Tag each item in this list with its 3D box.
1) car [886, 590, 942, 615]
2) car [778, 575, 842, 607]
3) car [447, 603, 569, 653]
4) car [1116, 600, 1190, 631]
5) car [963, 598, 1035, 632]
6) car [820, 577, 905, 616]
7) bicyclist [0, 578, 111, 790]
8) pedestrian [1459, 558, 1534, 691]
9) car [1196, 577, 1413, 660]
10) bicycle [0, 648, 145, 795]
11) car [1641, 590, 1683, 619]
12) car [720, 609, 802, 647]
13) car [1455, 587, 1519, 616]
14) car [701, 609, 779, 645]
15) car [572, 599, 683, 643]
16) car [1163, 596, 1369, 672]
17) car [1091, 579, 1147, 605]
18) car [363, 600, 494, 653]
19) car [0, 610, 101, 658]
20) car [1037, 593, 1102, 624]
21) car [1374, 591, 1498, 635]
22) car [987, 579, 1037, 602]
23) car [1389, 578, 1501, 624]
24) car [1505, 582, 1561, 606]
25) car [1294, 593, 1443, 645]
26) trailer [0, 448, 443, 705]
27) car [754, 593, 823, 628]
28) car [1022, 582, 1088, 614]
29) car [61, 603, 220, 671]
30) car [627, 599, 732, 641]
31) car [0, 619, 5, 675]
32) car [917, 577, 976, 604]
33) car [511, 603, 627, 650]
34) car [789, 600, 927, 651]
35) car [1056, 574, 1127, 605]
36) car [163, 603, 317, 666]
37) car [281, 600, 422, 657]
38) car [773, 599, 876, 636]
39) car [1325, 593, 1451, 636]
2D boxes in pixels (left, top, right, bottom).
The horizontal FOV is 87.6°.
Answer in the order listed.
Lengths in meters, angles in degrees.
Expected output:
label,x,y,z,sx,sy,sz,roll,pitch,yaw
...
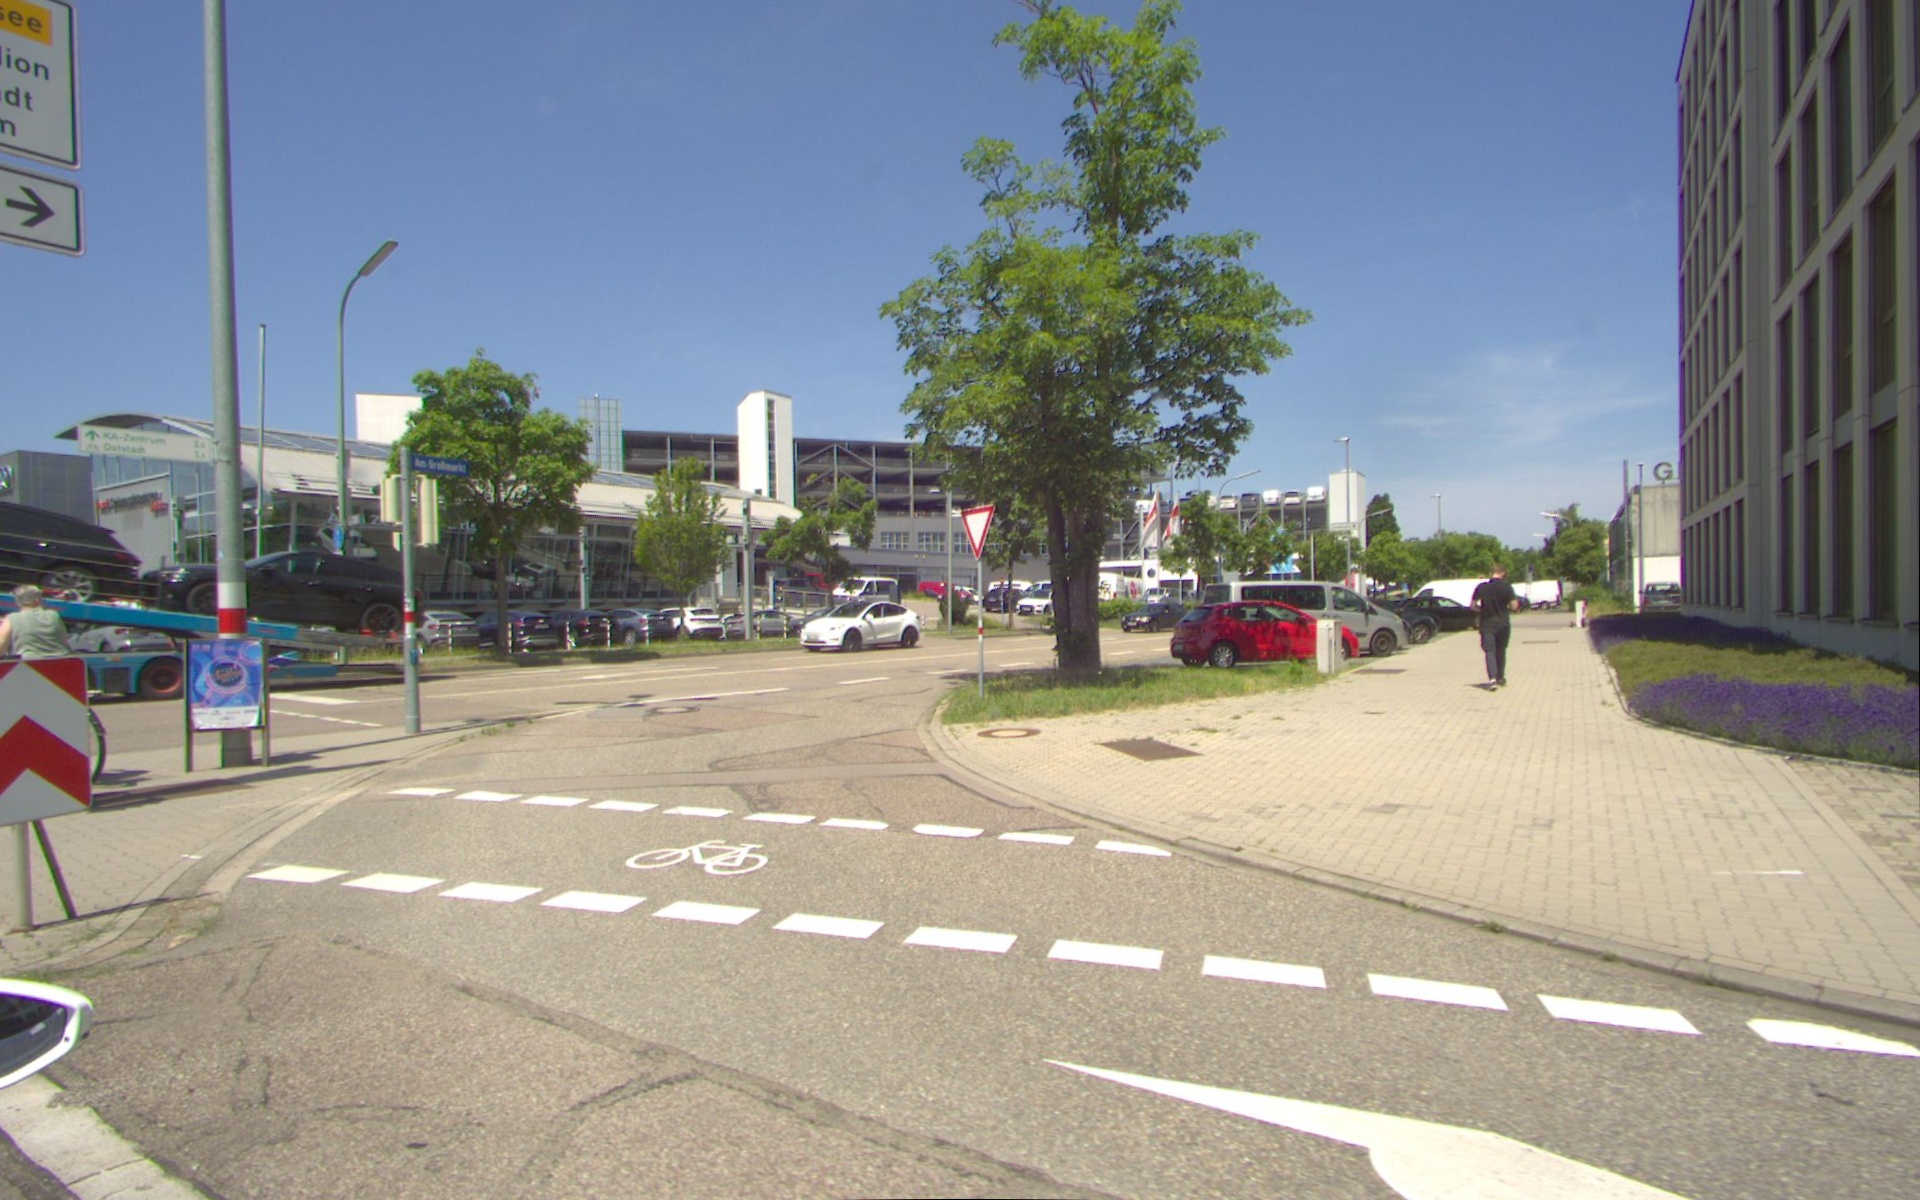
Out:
label,x,y,z,sx,sy,sz,roll,pitch,yaw
car,-3.509,0.200,75.859,3.942,1.810,1.730,-1,0,32
car,-10.359,-0.606,69.209,3.937,2.040,1.992,-1,0,27
car,-16.145,0.964,35.722,4.409,1.662,1.824,0,1,32
car,9.501,0.772,49.134,1.654,1.429,4.201,-2,-2,42
car,2.400,0.907,61.757,3.942,2.040,1.989,-1,0,32
car,-5.292,-0.206,55.243,1.971,2.040,5.117,-1,0,32
bicyclist,-8.140,0.710,8.859,0.742,1.772,0.733,0,0,28
pedestrian,7.893,0.356,14.724,0.764,1.869,0.861,-2,0,40
car,8.464,0.436,24.708,4.814,1.840,1.704,-1,0,-11
bicycle,-8.194,1.023,8.920,1.891,1.142,0.786,0,0,28
car,39.314,0.243,56.147,1.765,1.542,3.556,-1,0,33
car,-10.079,1.389,50.781,3.660,1.801,1.738,-1,0,-32
car,39.015,0.102,74.165,3.948,2.040,1.986,-1,0,37
car,-11.663,1.409,53.040,3.713,1.795,1.761,-1,0,-28
car,-13.413,0.832,40.356,4.409,1.662,1.824,0,1,32
car,6.549,0.699,21.592,3.924,1.454,1.609,-1,0,-9
car,12.661,-0.618,79.794,3.944,2.040,1.988,-1,0,33
car,-17.722,0.848,33.344,4.459,1.662,1.881,0,1,32
car,-42.000,1.535,45.572,1.972,2.040,3.978,-1,0,32
car,7.451,0.555,68.037,3.942,2.040,1.989,-1,0,32
car,19.102,0.542,40.301,4.075,1.558,1.815,-3,-1,2
car,4.844,-0.898,93.439,4.256,2.040,1.989,-1,0,32
car,28.125,0.045,58.121,5.712,2.567,2.093,0,0,29
car,52.672,-0.533,92.042,4.303,2.149,2.081,-1,1,35
car,12.573,0.562,30.914,3.924,1.483,1.718,-1,0,-9
trailer,-15.246,-0.332,18.619,3.058,4.134,9.569,-1,-1,40
car,-10.176,0.603,59.728,1.839,2.040,3.733,-1,0,41
car,6.232,-0.109,65.688,3.942,2.040,1.840,-1,0,32
car,-21.706,0.930,26.492,4.206,1.661,1.990,0,0,32
car,-11.944,0.826,42.596,4.409,1.662,1.824,0,1,32
car,-27.597,1.258,25.276,1.972,1.476,4.729,0,0,33
car,-1.098,-0.704,79.466,4.285,2.040,1.991,-1,0,30
car,-14.861,0.980,37.987,4.408,1.661,1.825,0,-1,31
car,-3.349,0.801,33.645,1.974,1.609,4.663,1,0,37
car,9.224,-0.695,70.366,4.578,2.040,1.989,-1,0,32
car,-20.607,0.924,28.624,4.491,1.662,1.989,0,1,32
car,-19.041,0.850,31.314,4.377,1.662,1.989,0,1,32
car,-6.603,0.822,49.029,4.703,1.662,1.820,-1,1,-36
car,15.659,0.519,36.746,3.923,1.483,1.719,-1,0,-6
